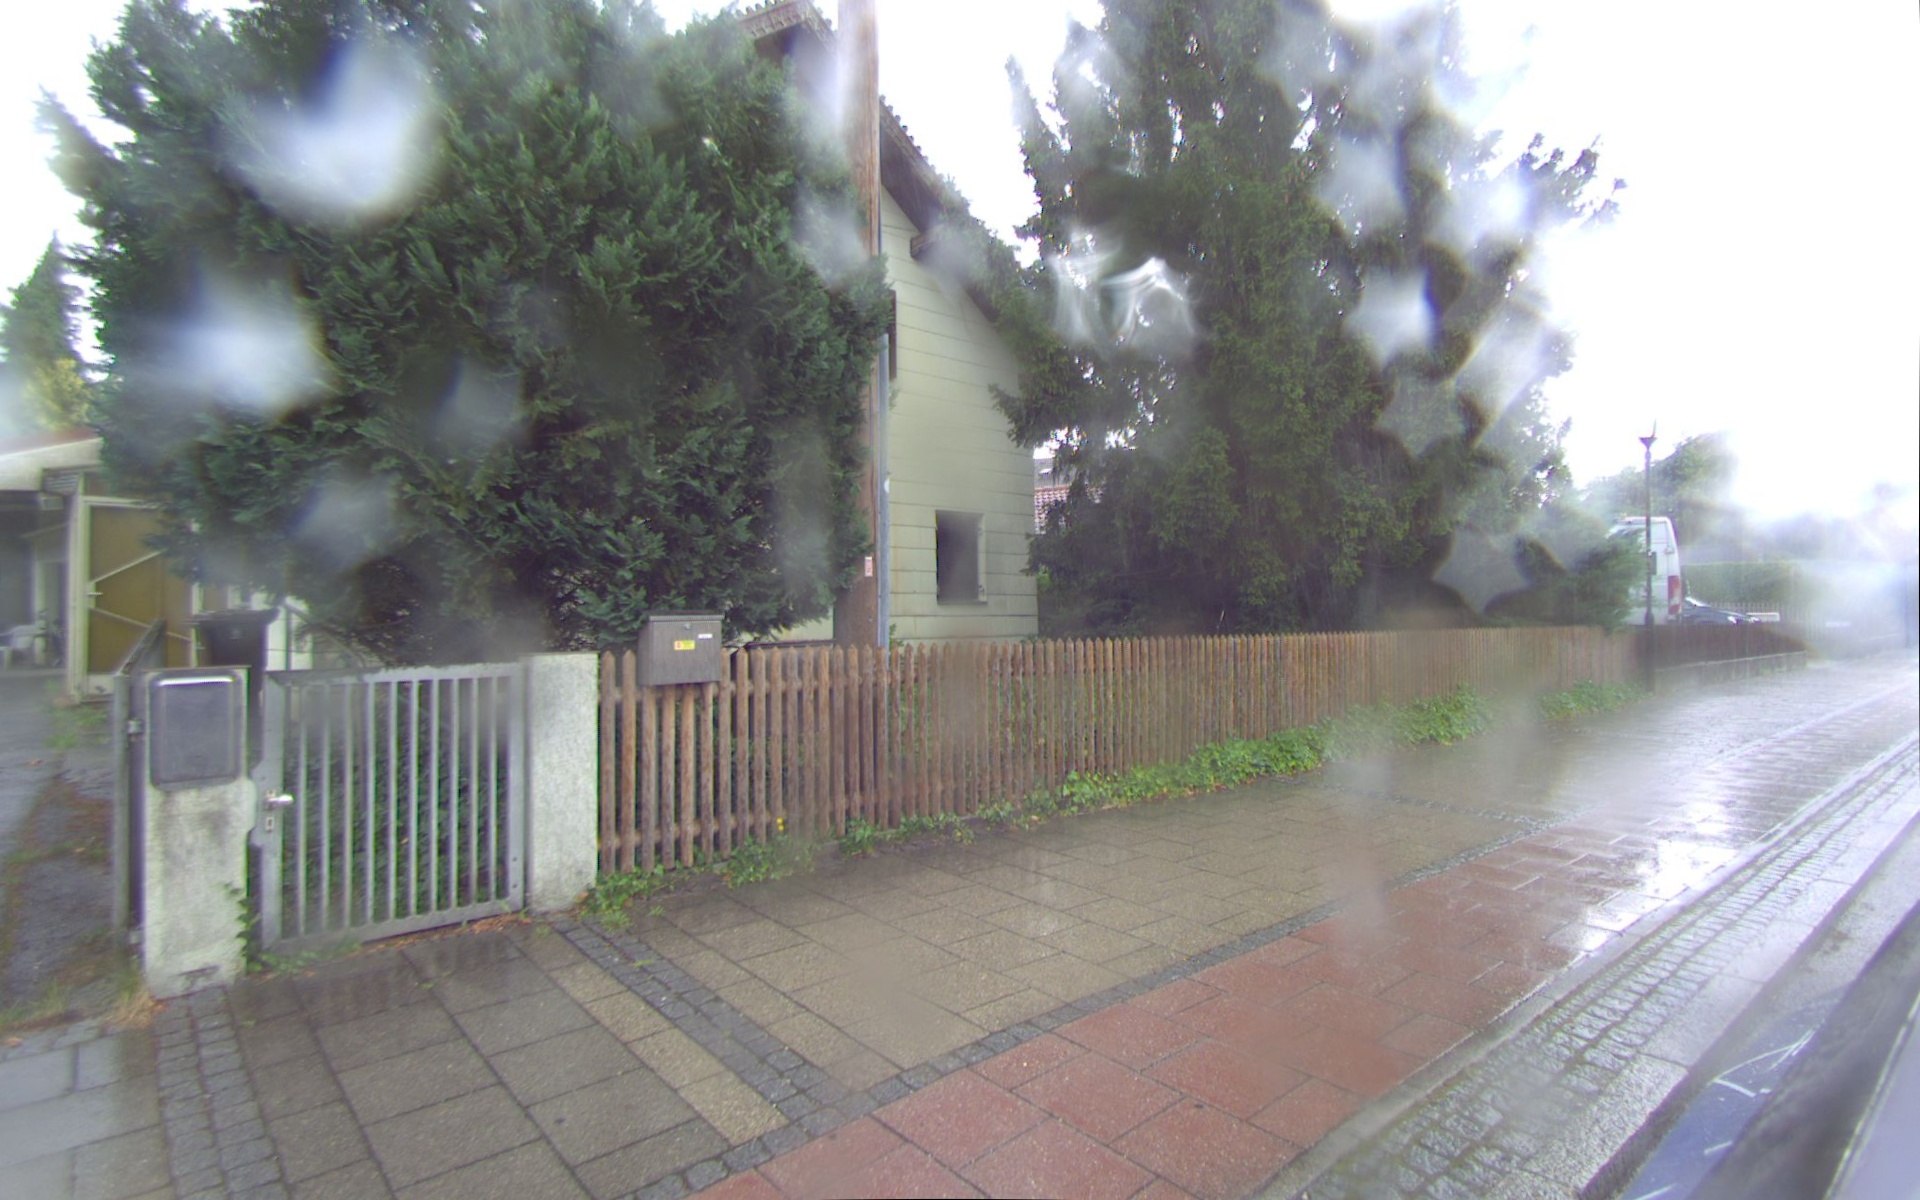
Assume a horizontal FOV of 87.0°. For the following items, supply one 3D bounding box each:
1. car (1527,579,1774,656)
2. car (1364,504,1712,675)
[{"bbox_3d":[15.603,0.321,23.012,4.428,1.438,1.803,3,3,42],"label":"car"},{"bbox_3d":[10.563,-0.284,18.806,5.298,2.761,1.971,3,2,41],"label":"car"}]
